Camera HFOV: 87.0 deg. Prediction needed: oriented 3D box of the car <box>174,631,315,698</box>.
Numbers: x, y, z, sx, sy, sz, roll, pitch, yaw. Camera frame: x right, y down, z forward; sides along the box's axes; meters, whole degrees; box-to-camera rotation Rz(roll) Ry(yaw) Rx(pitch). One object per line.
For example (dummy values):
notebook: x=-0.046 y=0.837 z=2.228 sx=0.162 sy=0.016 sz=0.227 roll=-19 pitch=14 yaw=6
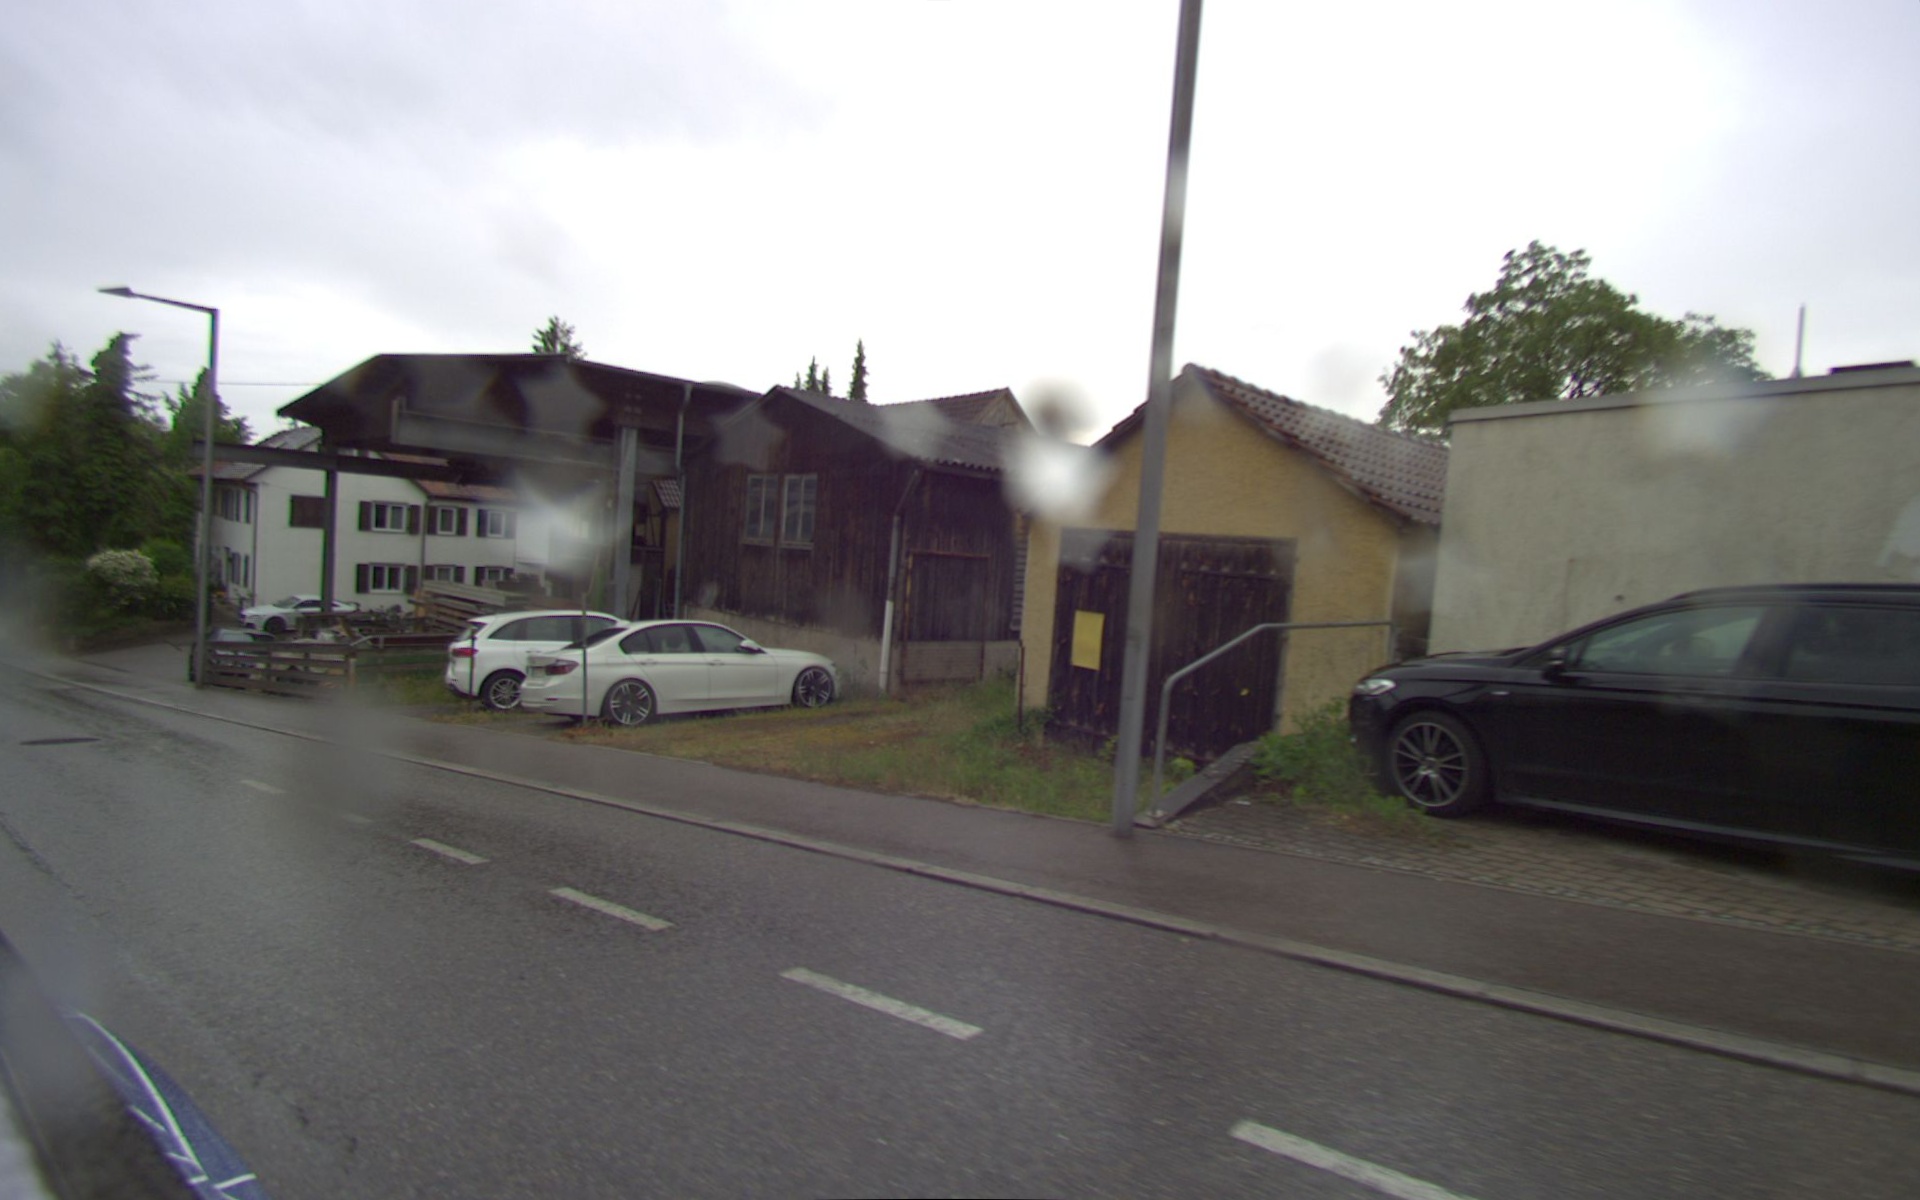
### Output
car: x=-17.494 y=1.528 z=24.675 sx=4.446 sy=1.452 sz=1.874 roll=-1 pitch=-3 yaw=43

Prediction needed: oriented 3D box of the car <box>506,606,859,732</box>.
car: x=-3.821 y=0.884 z=14.315 sx=4.437 sy=1.516 sz=1.905 roll=1 pitch=-2 yaw=-37

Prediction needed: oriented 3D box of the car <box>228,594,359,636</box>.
car: x=-26.099 y=0.596 z=39.706 sx=1.803 sy=1.519 sz=3.944 roll=3 pitch=0 yaw=42

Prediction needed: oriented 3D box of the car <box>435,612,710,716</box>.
car: x=-6.309 y=0.982 z=16.554 sx=3.931 sy=1.516 sz=1.906 roll=1 pitch=-2 yaw=-30

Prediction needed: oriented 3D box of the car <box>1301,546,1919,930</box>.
car: x=4.590 y=0.628 z=5.518 sx=1.948 sy=1.672 sz=4.974 roll=1 pitch=-2 yaw=-36
